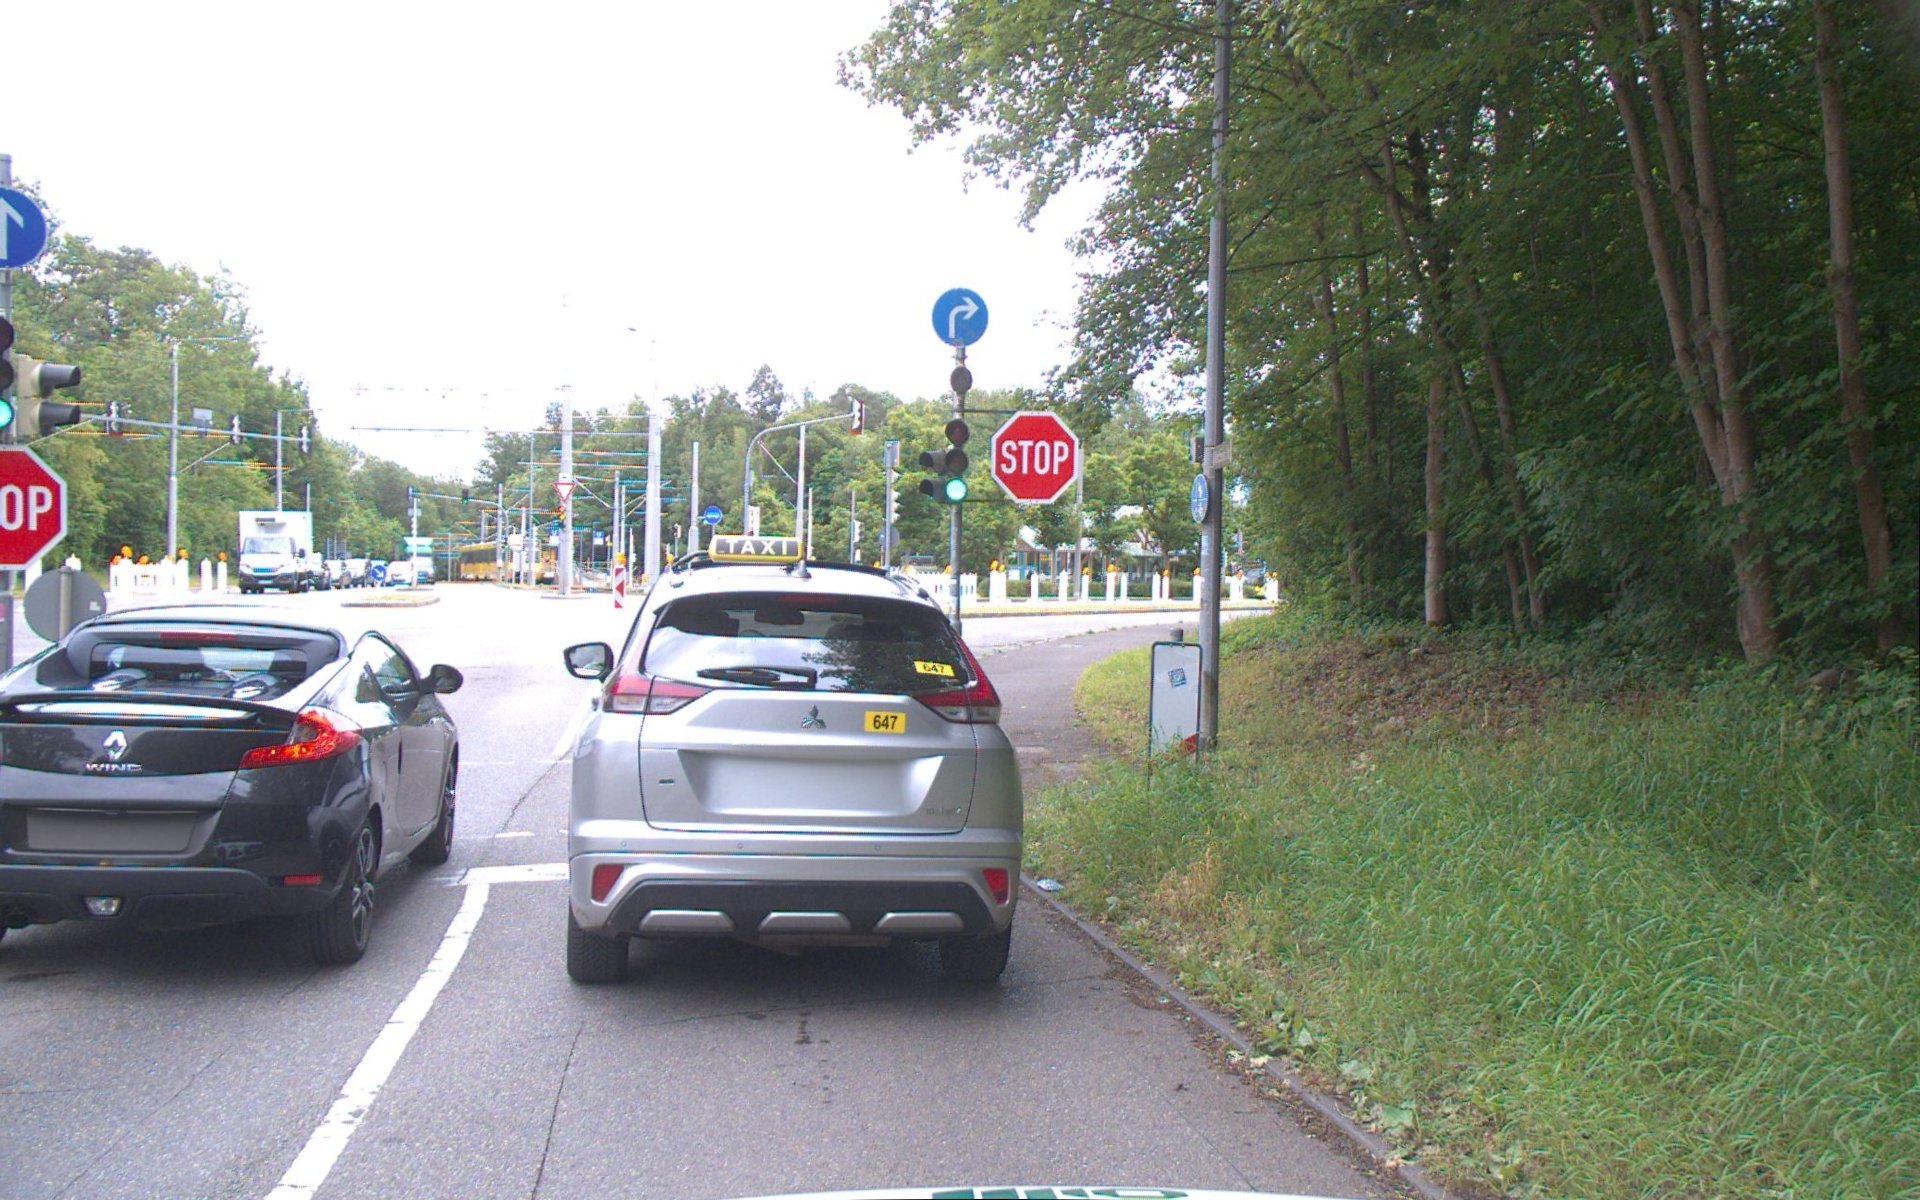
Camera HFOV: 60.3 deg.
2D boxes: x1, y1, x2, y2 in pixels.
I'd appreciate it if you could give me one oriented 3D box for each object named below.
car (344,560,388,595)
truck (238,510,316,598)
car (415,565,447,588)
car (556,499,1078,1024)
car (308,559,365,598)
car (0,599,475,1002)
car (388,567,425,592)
[{"bbox_3d":[-33.458,-1.289,93.267,1.929,1.877,4.671,1,1,-15],"label":"car"},{"bbox_3d":[-26.990,-1.757,65.573,2.412,3.280,7.117,0,1,-19],"label":"truck"},{"bbox_3d":[-38.173,-1.695,119.394,1.929,1.567,4.293,1,1,-15],"label":"car"},{"bbox_3d":[-0.744,0.557,7.613,1.741,1.778,3.773,2,0,-8],"label":"car"},{"bbox_3d":[-29.958,-1.056,79.634,1.928,1.780,4.830,1,1,-13],"label":"car"},{"bbox_3d":[-3.344,0.714,7.656,1.742,1.385,3.468,0,1,-10],"label":"car"},{"bbox_3d":[-35.524,-1.319,106.209,1.929,1.568,4.378,1,1,-15],"label":"car"}]
